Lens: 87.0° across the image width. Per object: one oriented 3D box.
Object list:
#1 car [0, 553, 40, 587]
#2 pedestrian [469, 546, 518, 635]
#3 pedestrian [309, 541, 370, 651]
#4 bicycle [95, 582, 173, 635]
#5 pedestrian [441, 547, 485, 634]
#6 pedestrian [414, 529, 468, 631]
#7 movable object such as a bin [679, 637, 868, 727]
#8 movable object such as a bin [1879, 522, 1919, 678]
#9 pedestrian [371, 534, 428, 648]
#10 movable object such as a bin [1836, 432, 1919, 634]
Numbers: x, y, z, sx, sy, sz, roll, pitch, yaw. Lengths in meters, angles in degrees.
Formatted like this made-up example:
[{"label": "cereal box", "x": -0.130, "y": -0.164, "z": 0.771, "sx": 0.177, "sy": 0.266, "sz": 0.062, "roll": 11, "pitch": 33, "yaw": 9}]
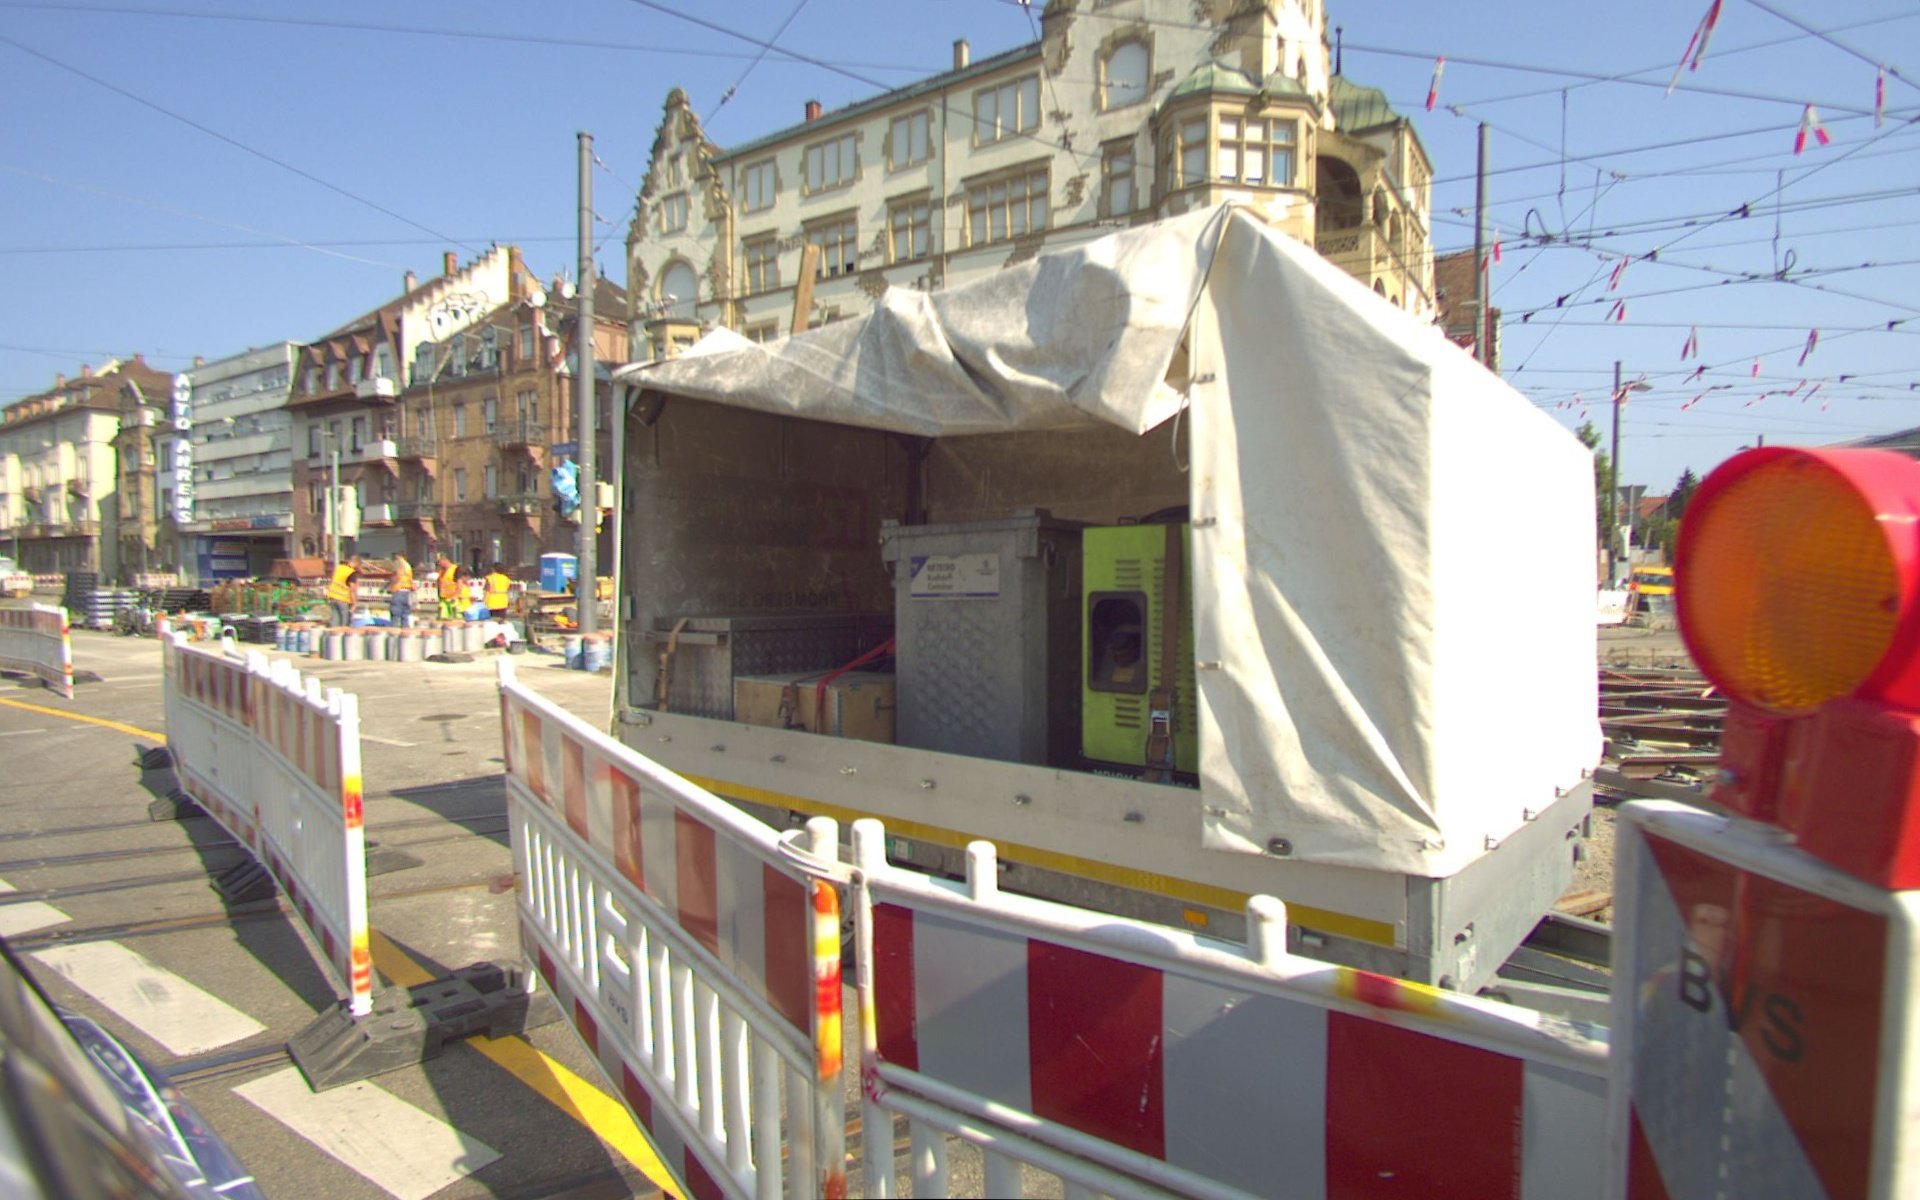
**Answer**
[{"label": "car", "x": -64.707, "y": -2.066, "z": 68.293, "sx": 7.105, "sy": 2.150, "sz": 2.341, "roll": 2, "pitch": 3, "yaw": 35}, {"label": "pedestrian", "x": -9.747, "y": -0.208, "z": 21.176, "sx": 0.742, "sy": 1.823, "sz": 0.832, "roll": 0, "pitch": 2, "yaw": -10}, {"label": "pedestrian", "x": -11.230, "y": -0.088, "z": 18.337, "sx": 0.675, "sy": 1.941, "sz": 0.715, "roll": 1, "pitch": 2, "yaw": -2}, {"label": "bicycle", "x": -18.863, "y": 0.183, "z": 23.107, "sx": 1.956, "sy": 1.106, "sz": 0.559, "roll": 2, "pitch": 4, "yaw": 25}, {"label": "pedestrian", "x": -10.763, "y": -0.224, "z": 21.892, "sx": 0.816, "sy": 1.830, "sz": 0.887, "roll": 0, "pitch": 2, "yaw": -29}, {"label": "pedestrian", "x": -9.827, "y": -0.390, "z": 19.164, "sx": 0.708, "sy": 1.884, "sz": 0.711, "roll": 3, "pitch": 3, "yaw": 43}, {"label": "movable object such as a bin", "x": -1.814, "y": 0.768, "z": 9.821, "sx": 1.693, "sy": 0.719, "sz": 0.720, "roll": 0, "pitch": 3, "yaw": -22}, {"label": "movable object such as a bin", "x": 18.883, "y": 0.094, "z": 16.896, "sx": 2.413, "sy": 2.855, "sz": 4.821, "roll": 1, "pitch": 2, "yaw": -3}, {"label": "pedestrian", "x": -10.206, "y": -0.172, "z": 18.451, "sx": 0.664, "sy": 2.030, "sz": 0.697, "roll": 1, "pitch": 2, "yaw": -2}, {"label": "movable object such as a bin", "x": 24.336, "y": -1.455, "z": 23.586, "sx": 7.270, "sy": 4.379, "sz": 4.976, "roll": -2, "pitch": 4, "yaw": -43}]
